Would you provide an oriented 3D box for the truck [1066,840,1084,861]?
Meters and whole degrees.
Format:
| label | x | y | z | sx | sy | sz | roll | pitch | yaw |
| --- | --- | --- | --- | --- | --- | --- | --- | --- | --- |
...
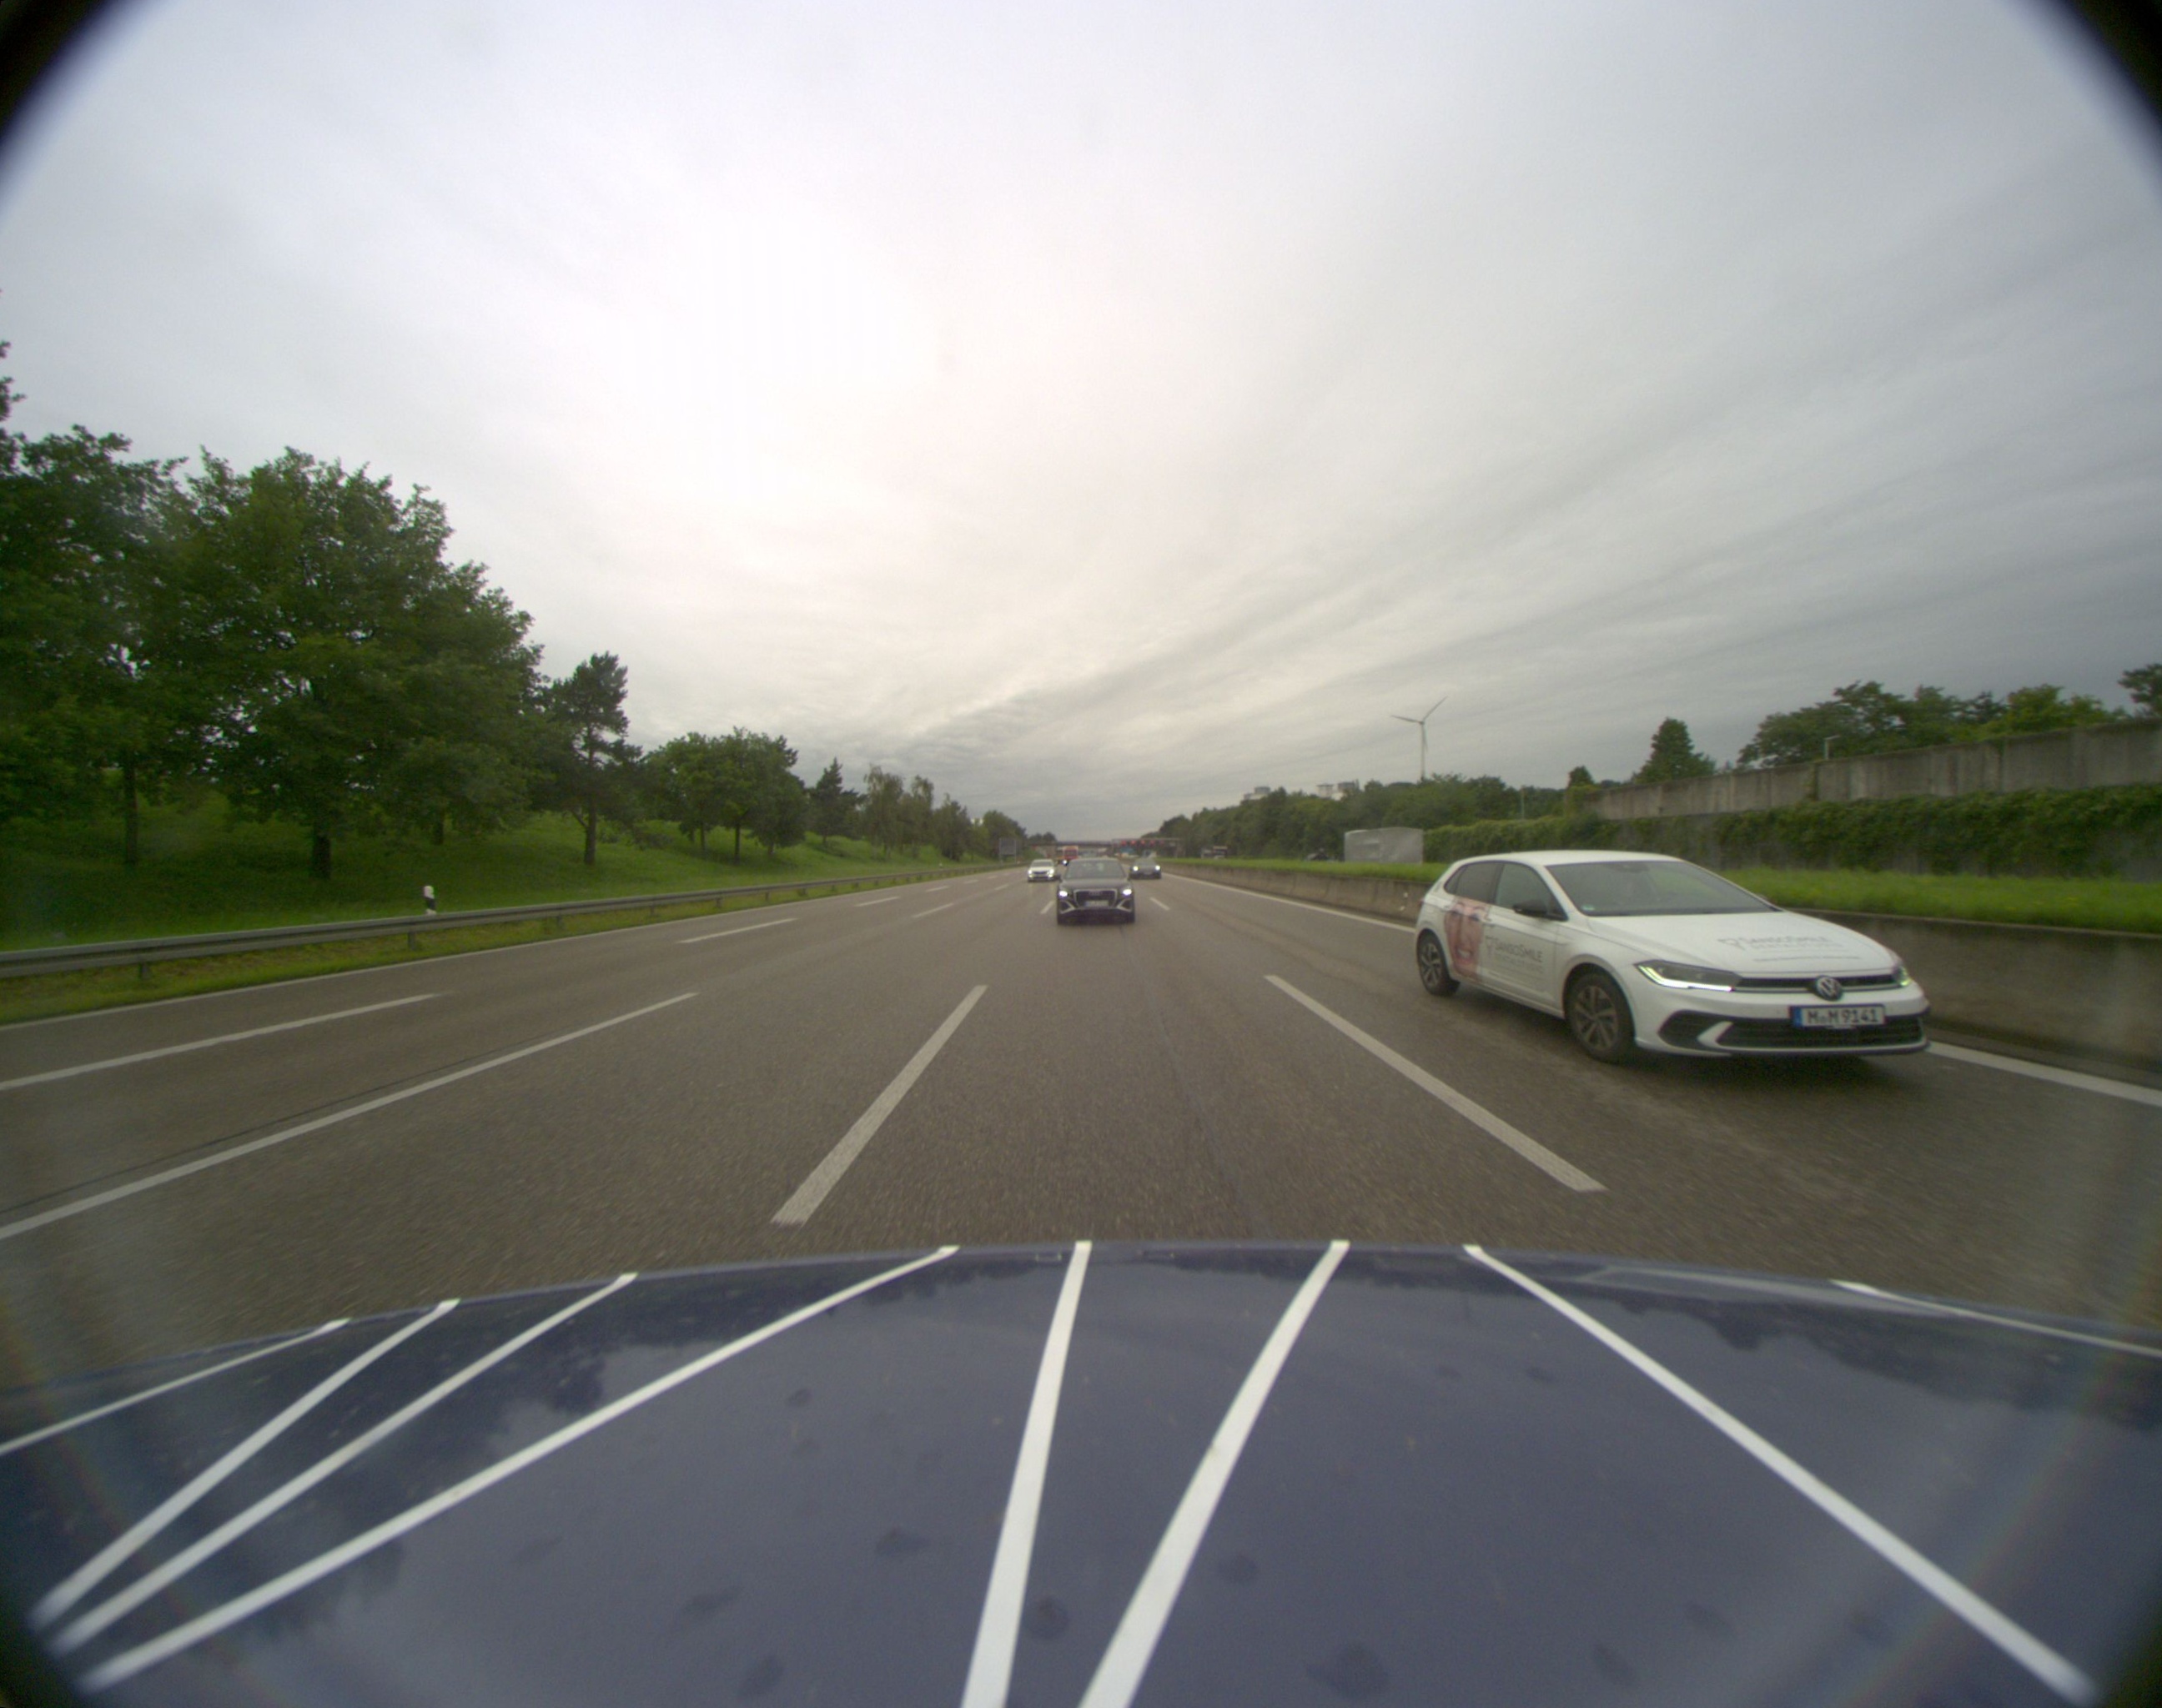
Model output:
| label | x | y | z | sx | sy | sz | roll | pitch | yaw |
| --- | --- | --- | --- | --- | --- | --- | --- | --- | --- |
| truck | -1.009 | -0.689 | 136.984 | 2.836 | 3.634 | 10.670 | -2 | 1 | 1 |

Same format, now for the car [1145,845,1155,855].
| label | x | y | z | sx | sy | sz | roll | pitch | yaw |
| --- | --- | --- | --- | --- | --- | --- | --- | --- | --- |
| car | 19.288 | -1.230 | 213.700 | 2.327 | 2.719 | 7.315 | -2 | 1 | 1 |

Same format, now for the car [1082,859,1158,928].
| label | x | y | z | sx | sy | sz | roll | pitch | yaw |
| --- | --- | --- | --- | --- | --- | --- | --- | --- | --- |
| car | 0.867 | 0.869 | 18.323 | 1.616 | 1.403 | 3.326 | -2 | 1 | 0 |

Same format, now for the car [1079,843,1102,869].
| label | x | y | z | sx | sy | sz | roll | pitch | yaw |
| --- | --- | --- | --- | --- | --- | --- | --- | --- | --- |
| car | 1.087 | 0.181 | 86.379 | 2.459 | 2.726 | 8.265 | -2 | 1 | 1 |

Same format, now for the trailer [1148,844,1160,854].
| label | x | y | z | sx | sy | sz | roll | pitch | yaw |
| --- | --- | --- | --- | --- | --- | --- | --- | --- | --- |
| trailer | 23.525 | -1.607 | 245.209 | 2.784 | 3.059 | 7.871 | -2 | 1 | 0 |

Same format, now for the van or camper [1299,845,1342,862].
| label | x | y | z | sx | sy | sz | roll | pitch | yaw |
| --- | --- | --- | --- | --- | --- | --- | --- | --- | --- |
| van or camper | 27.621 | -0.069 | 87.998 | 2.197 | 1.790 | 8.435 | -2 | 1 | 0 |

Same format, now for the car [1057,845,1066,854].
| label | x | y | z | sx | sy | sz | roll | pitch | yaw |
| --- | --- | --- | --- | --- | --- | --- | --- | --- | --- |
| car | -4.693 | -1.034 | 185.114 | 1.998 | 2.002 | 4.000 | -2 | 1 | 2 |

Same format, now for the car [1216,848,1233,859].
| label | x | y | z | sx | sy | sz | roll | pitch | yaw |
| --- | --- | --- | --- | --- | --- | --- | --- | --- | --- |
| car | 22.019 | -0.091 | 116.885 | 1.787 | 1.623 | 4.293 | -2 | 1 | 0 |

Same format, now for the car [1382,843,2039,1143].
| label | x | y | z | sx | sy | sz | roll | pitch | yaw |
| --- | --- | --- | --- | --- | --- | --- | --- | --- | --- |
| car | 4.351 | 0.752 | 6.468 | 1.757 | 1.608 | 4.663 | -1 | 0 | 0 |

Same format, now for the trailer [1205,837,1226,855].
| label | x | y | z | sx | sy | sz | roll | pitch | yaw |
| --- | --- | --- | --- | --- | --- | --- | --- | --- | --- |
| trailer | 25.201 | -1.475 | 142.919 | 2.312 | 3.271 | 10.562 | -2 | 1 | 2 |

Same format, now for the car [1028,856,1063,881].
| label | x | y | z | sx | sy | sz | roll | pitch | yaw |
| --- | --- | --- | --- | --- | --- | --- | --- | --- | --- |
| car | -2.350 | 0.937 | 51.085 | 1.998 | 1.555 | 4.910 | -2 | 0 | 1 |

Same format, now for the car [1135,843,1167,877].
| label | x | y | z | sx | sy | sz | roll | pitch | yaw |
| --- | --- | --- | --- | --- | --- | --- | --- | --- | --- |
| car | 4.453 | 0.356 | 48.768 | 1.725 | 2.002 | 3.851 | -2 | 1 | 1 |

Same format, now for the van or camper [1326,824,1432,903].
| label | x | y | z | sx | sy | sz | roll | pitch | yaw |
| --- | --- | --- | --- | --- | --- | --- | --- | --- | --- |
| van or camper | 16.545 | 0.453 | 42.947 | 2.714 | 3.925 | 8.401 | -2 | 1 | 1 |

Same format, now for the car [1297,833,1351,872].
| label | x | y | z | sx | sy | sz | roll | pitch | yaw |
| --- | --- | --- | --- | --- | --- | --- | --- | --- | --- |
| car | 13.666 | -0.092 | 42.971 | 1.772 | 2.002 | 4.000 | -2 | 1 | 1 |

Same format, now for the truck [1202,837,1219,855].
| label | x | y | z | sx | sy | sz | roll | pitch | yaw |
| --- | --- | --- | --- | --- | --- | --- | --- | --- | --- |
| truck | 25.401 | -1.573 | 149.208 | 2.321 | 3.254 | 6.582 | -2 | 1 | 1 |

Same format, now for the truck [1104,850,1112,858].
| label | x | y | z | sx | sy | sz | roll | pitch | yaw |
| --- | --- | --- | --- | --- | --- | --- | --- | --- | --- |
| truck | 6.923 | -0.053 | 197.009 | 1.998 | 2.002 | 4.000 | -2 | 0 | 1 |

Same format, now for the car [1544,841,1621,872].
| label | x | y | z | sx | sy | sz | roll | pitch | yaw |
| --- | --- | --- | --- | --- | --- | --- | --- | --- | --- |
| car | 27.421 | 0.111 | 41.687 | 1.622 | 1.597 | 4.068 | -2 | 1 | 2 |
